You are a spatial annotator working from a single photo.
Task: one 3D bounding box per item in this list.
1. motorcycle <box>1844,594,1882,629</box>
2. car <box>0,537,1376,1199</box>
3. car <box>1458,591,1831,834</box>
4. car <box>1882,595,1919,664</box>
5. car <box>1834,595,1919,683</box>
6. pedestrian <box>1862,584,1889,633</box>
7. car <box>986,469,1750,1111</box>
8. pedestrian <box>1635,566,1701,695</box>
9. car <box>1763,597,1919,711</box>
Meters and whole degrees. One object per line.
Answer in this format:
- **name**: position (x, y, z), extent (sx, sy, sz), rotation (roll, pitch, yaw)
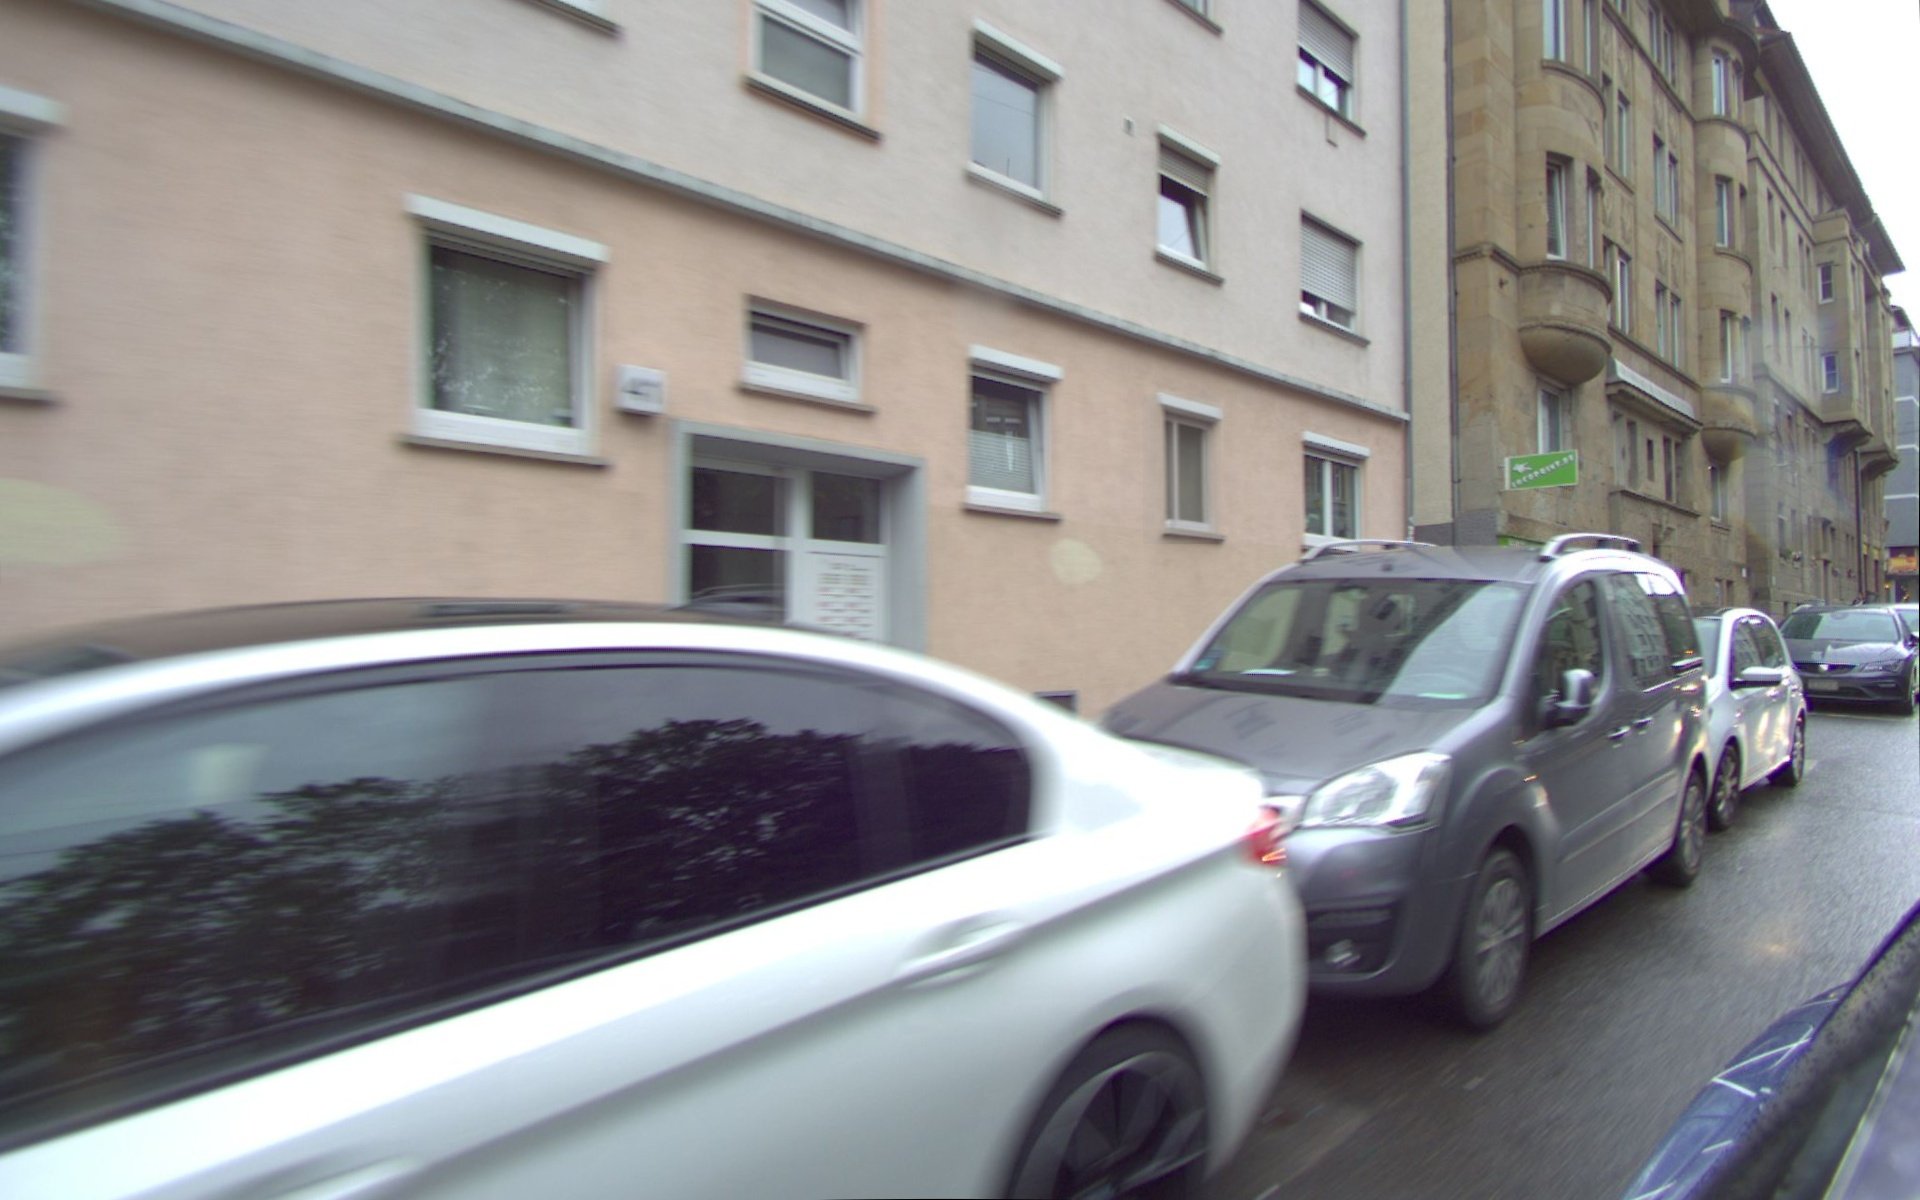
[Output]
- **motorcycle**: position (32.452, 0.381, 36.364), extent (2.698, 1.214, 0.706), rotation (-1, 0, -41)
- **car**: position (-1.358, 0.687, 1.603), extent (4.819, 1.474, 1.873), rotation (0, 0, -42)
- **car**: position (5.471, 0.673, 7.940), extent (3.536, 1.480, 1.573), rotation (0, 0, -41)
- **car**: position (21.779, 0.621, 22.545), extent (3.623, 1.452, 1.592), rotation (-1, 1, -44)
- **car**: position (17.491, 0.654, 18.638), extent (3.889, 1.452, 1.670), rotation (-1, 1, -43)
- **pedestrian**: position (29.806, 0.271, 32.955), extent (0.697, 1.555, 0.562), rotation (0, -1, -41)
- **car**: position (2.235, 0.505, 4.880), extent (4.139, 1.787, 1.793), rotation (0, 1, -42)
- **pedestrian**: position (10.118, 0.419, 14.463), extent (0.677, 1.785, 0.608), rotation (0, 1, -42)
- **car**: position (13.361, 0.686, 15.001), extent (4.239, 1.428, 1.671), rotation (0, 0, -43)
